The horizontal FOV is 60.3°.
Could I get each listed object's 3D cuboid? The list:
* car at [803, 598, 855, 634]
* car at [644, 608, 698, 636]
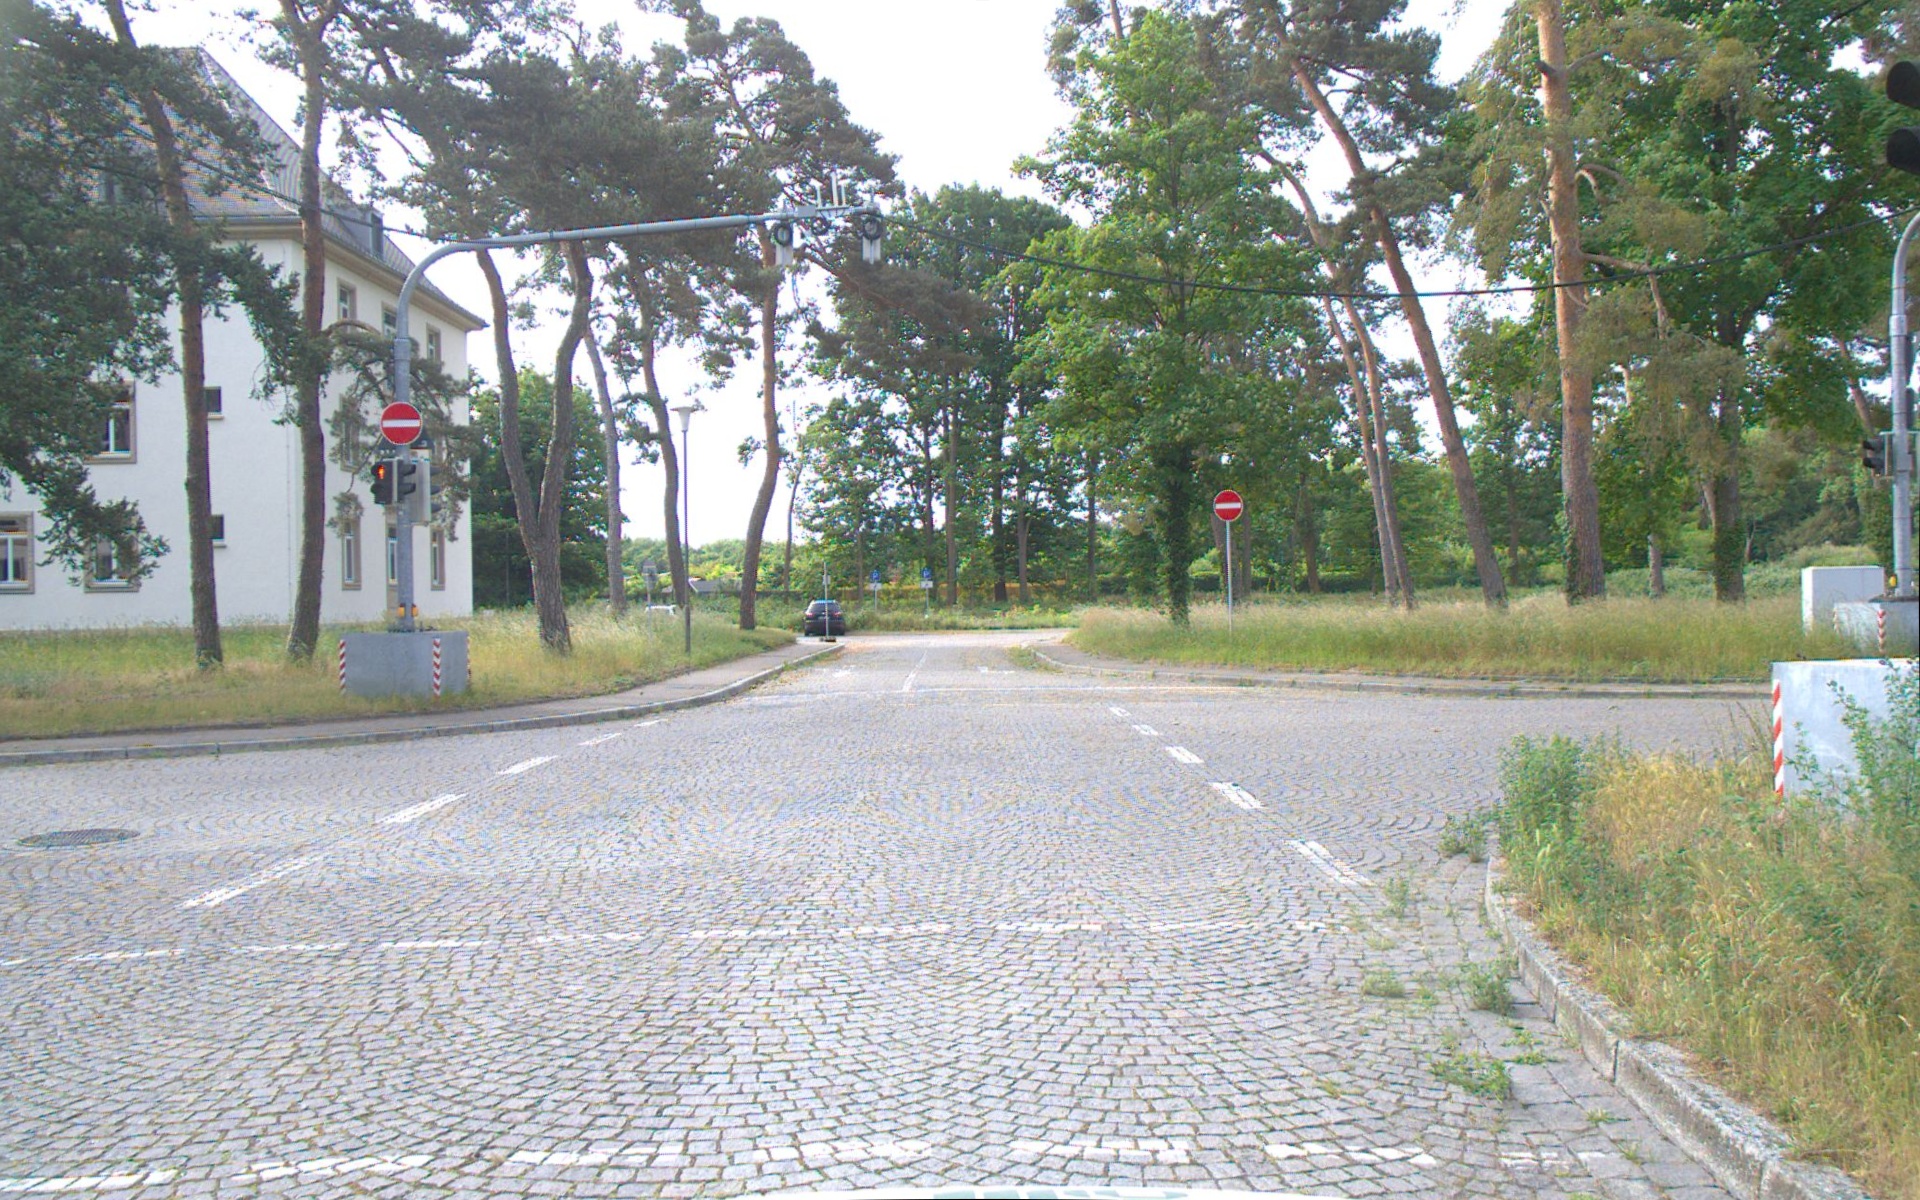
[{"bbox_3d":[-5.837,0.686,74.301,1.952,1.534,4.000,1,0,1],"label":"car"},{"bbox_3d":[-13.102,0.967,75.103,1.654,1.176,4.000,-1,0,1],"label":"car"}]
